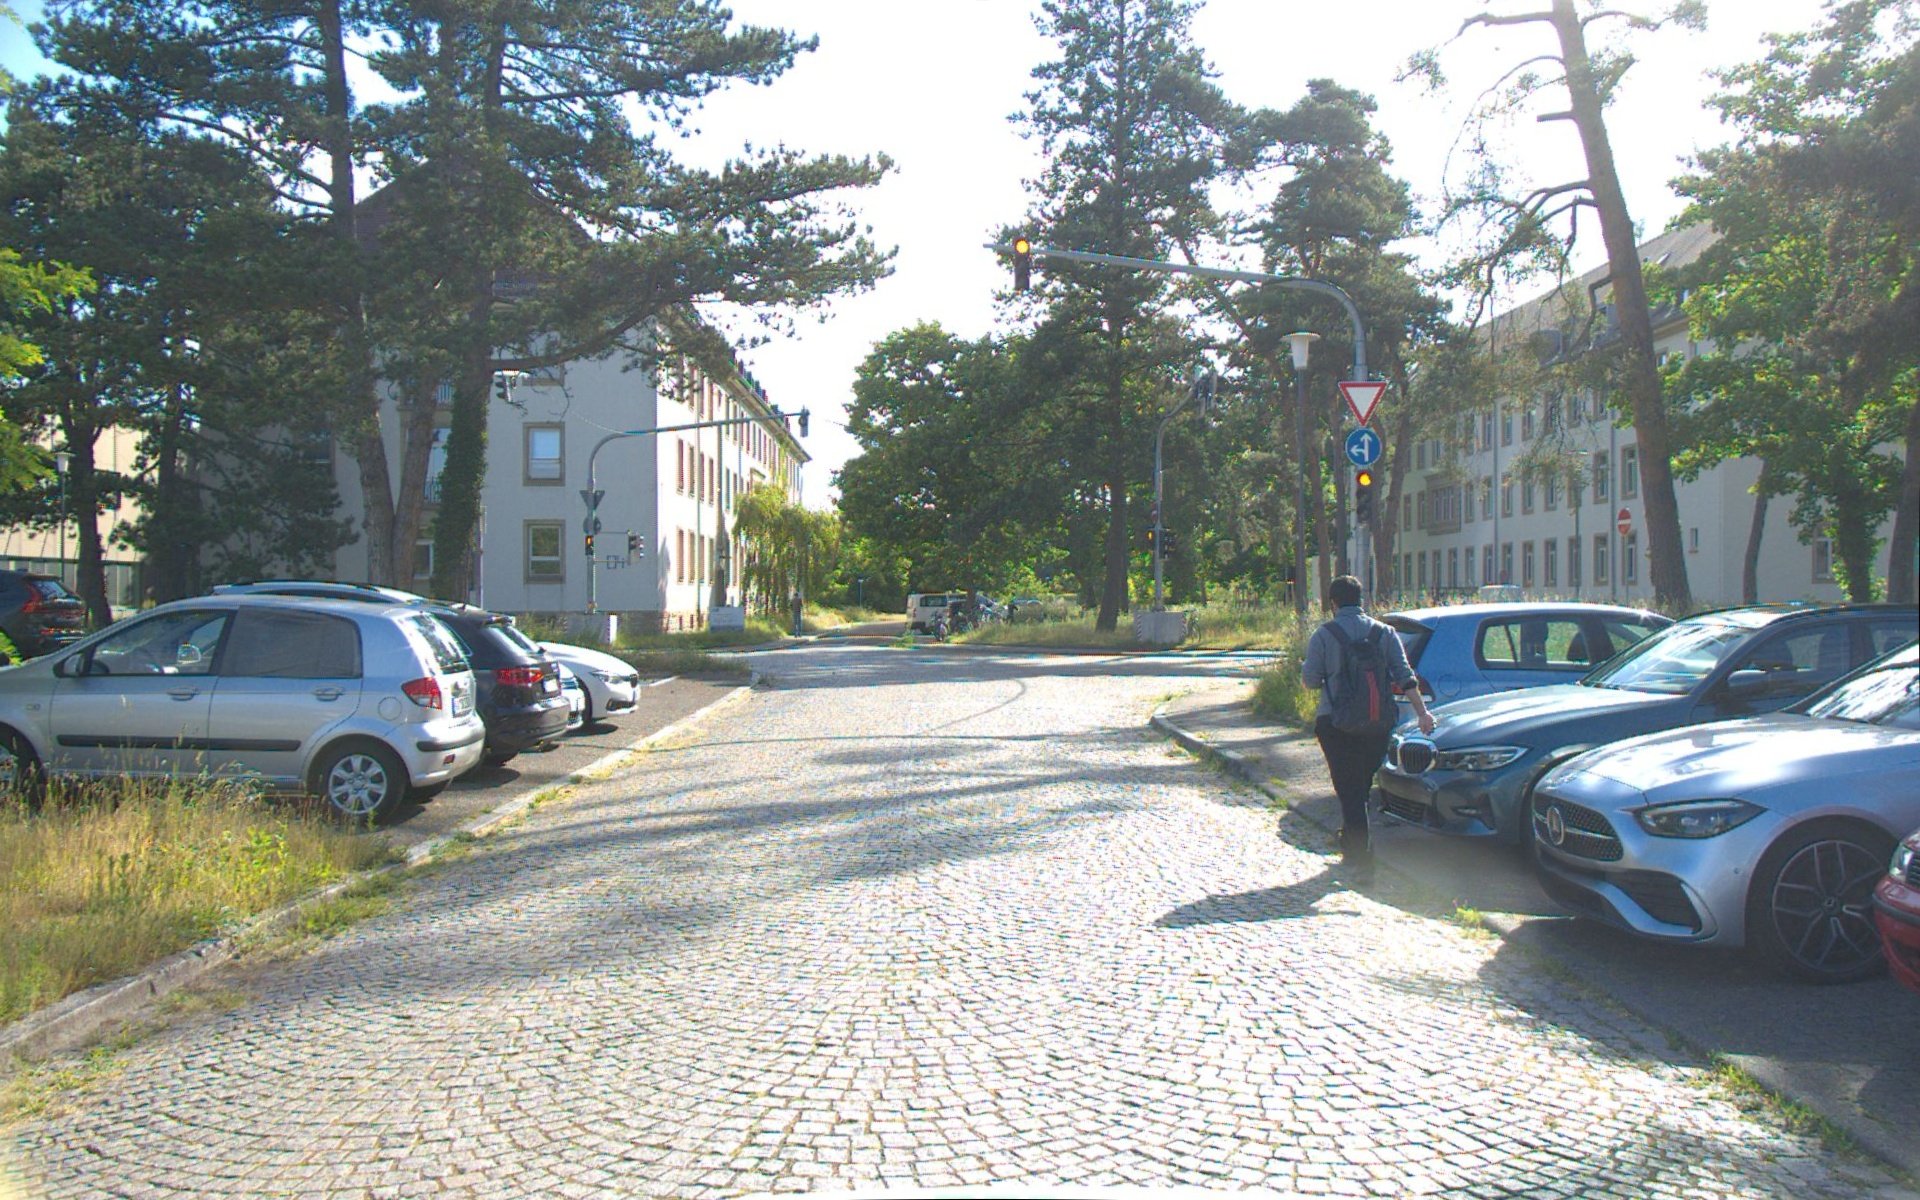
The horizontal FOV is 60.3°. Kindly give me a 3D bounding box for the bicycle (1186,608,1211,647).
[{"bbox_3d":[7.212,0.804,49.965,0.706,1.134,2.585,0,0,8],"label":"bicycle"}]

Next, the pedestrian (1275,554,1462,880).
[{"bbox_3d":[2.343,0.649,9.586,0.738,1.755,0.828,5,0,-1],"label":"pedestrian"}]

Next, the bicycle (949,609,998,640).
[{"bbox_3d":[0.513,0.906,61.719,1.798,1.132,0.495,0,0,-5],"label":"bicycle"}]

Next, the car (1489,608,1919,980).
[{"bbox_3d":[4.870,0.748,7.558,4.311,1.413,1.788,-1,0,-2],"label":"car"}]

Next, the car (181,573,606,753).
[{"bbox_3d":[-5.783,0.632,17.228,3.802,1.643,1.660,2,0,-2],"label":"car"}]

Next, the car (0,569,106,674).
[{"bbox_3d":[-16.425,0.339,26.867,4.059,1.636,2.010,0,0,0],"label":"car"}]

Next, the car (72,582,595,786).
[{"bbox_3d":[-5.335,0.698,14.468,3.859,1.470,1.690,3,0,-2],"label":"car"}]

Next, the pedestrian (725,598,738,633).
[{"bbox_3d":[-10.412,0.725,75.434,0.595,1.587,0.544,0,0,-8],"label":"pedestrian"}]

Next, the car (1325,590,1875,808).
[{"bbox_3d":[4.848,0.716,12.867,3.599,1.468,1.665,-2,0,-1],"label":"car"}]

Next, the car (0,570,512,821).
[{"bbox_3d":[-5.249,0.629,11.807,3.612,1.554,1.698,2,0,-4],"label":"car"}]

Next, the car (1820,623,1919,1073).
[{"bbox_3d":[5.120,0.796,5.274,3.899,1.474,1.655,-1,0,-2],"label":"car"}]

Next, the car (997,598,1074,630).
[{"bbox_3d":[3.796,0.700,83.615,3.674,1.607,1.738,0,0,-9],"label":"car"}]

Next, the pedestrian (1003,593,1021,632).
[{"bbox_3d":[2.466,0.586,77.956,0.745,1.815,0.682,0,0,-9],"label":"pedestrian"}]

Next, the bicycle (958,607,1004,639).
[{"bbox_3d":[0.789,0.871,62.951,1.693,1.185,0.560,0,0,-5],"label":"bicycle"}]

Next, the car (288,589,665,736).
[{"bbox_3d":[-5.709,0.713,19.813,3.903,1.522,1.773,2,0,3],"label":"car"}]

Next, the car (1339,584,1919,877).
[{"bbox_3d":[4.885,0.710,10.330,4.528,1.481,1.869,-2,0,-4],"label":"car"}]

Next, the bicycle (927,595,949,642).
[{"bbox_3d":[-0.782,0.638,58.124,0.738,1.608,2.536,0,0,-2],"label":"bicycle"}]

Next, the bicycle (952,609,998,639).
[{"bbox_3d":[0.570,0.907,62.265,1.693,1.132,0.483,0,0,-5],"label":"bicycle"}]

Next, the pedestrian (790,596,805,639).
[{"bbox_3d":[-6.740,0.733,68.688,0.595,1.783,0.629,0,0,-7],"label":"pedestrian"}]

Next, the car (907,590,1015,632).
[{"bbox_3d":[0.036,0.524,79.630,4.975,1.952,1.995,0,0,-11],"label":"car"}]
